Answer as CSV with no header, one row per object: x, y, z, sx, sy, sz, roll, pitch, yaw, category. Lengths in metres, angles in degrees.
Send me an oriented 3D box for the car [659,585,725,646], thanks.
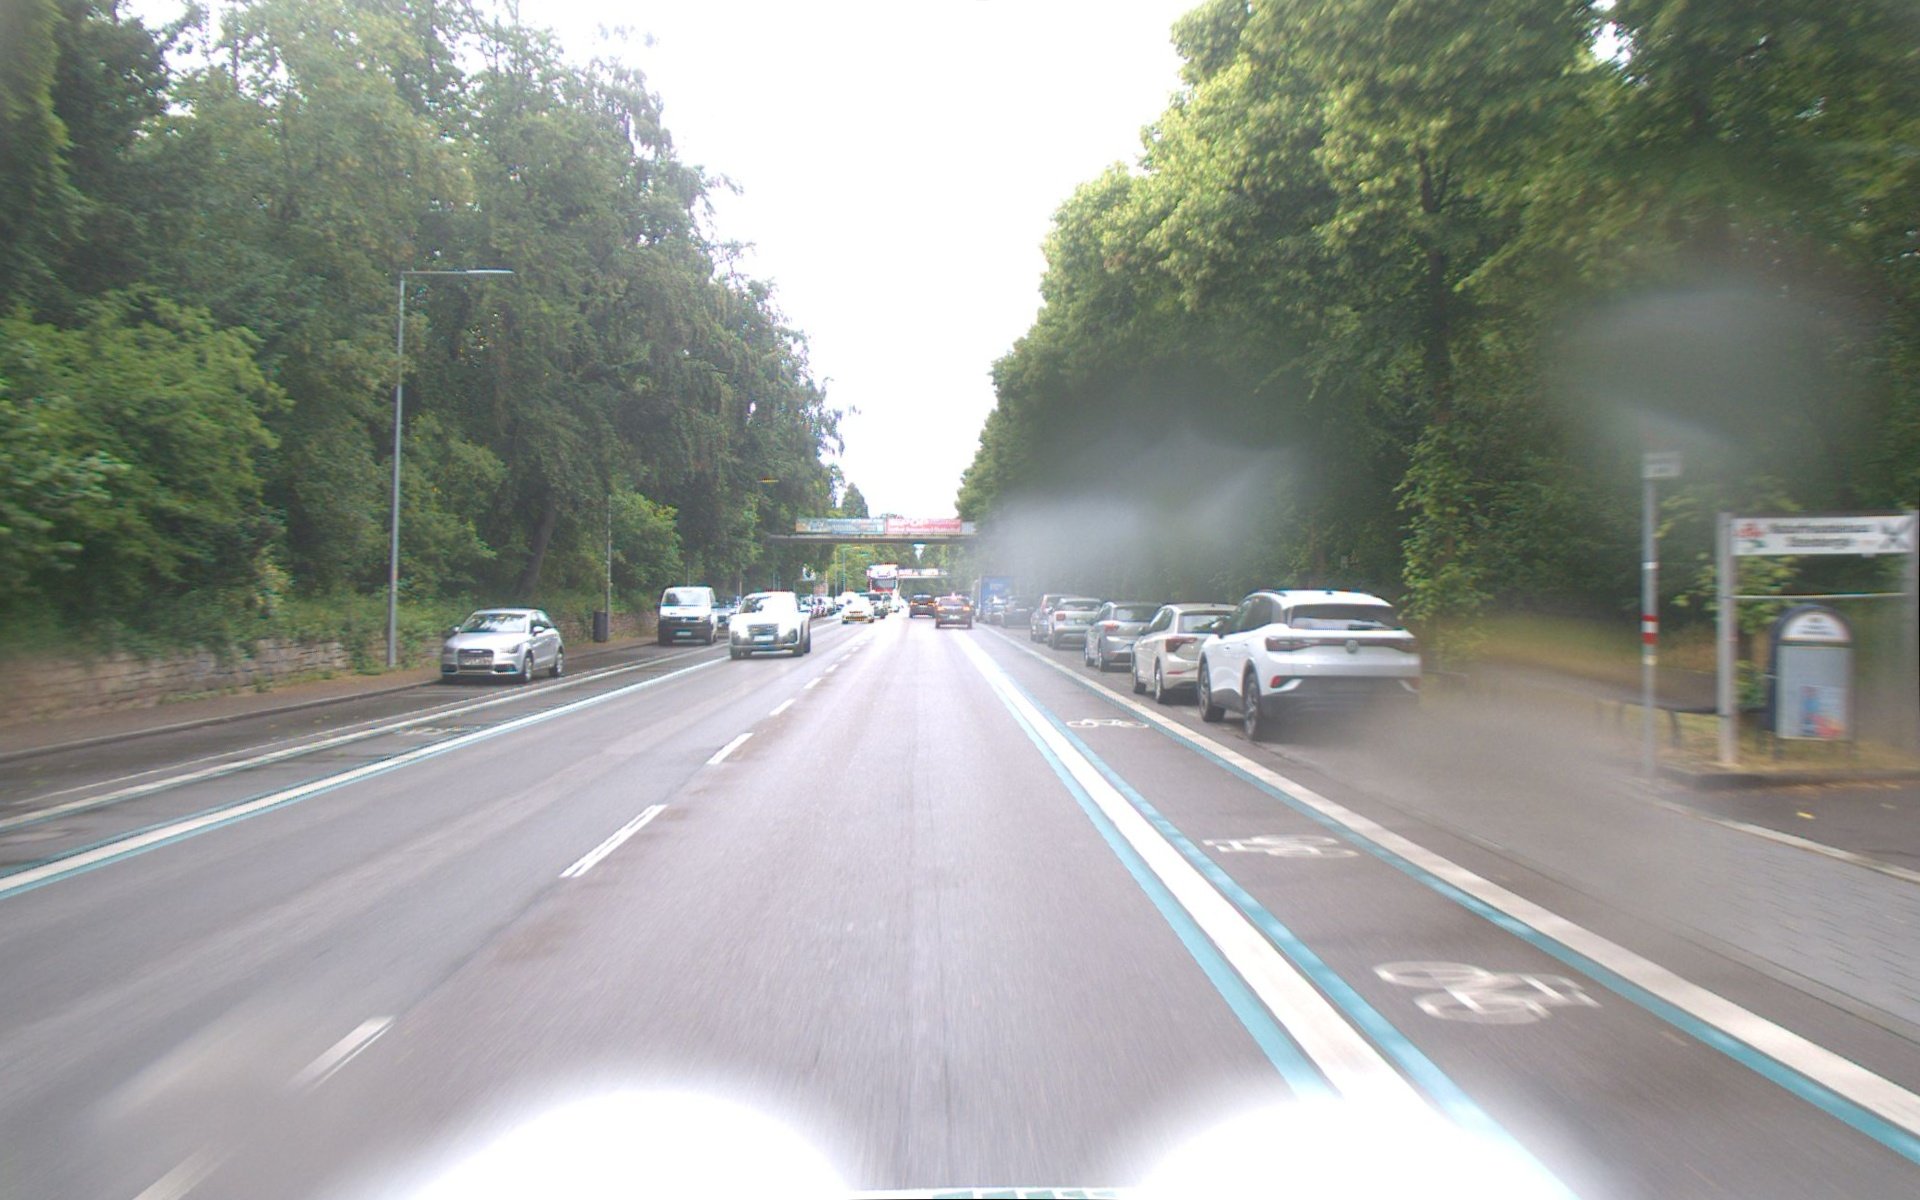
-9.368,0.505,58.129,1.935,2.040,5.012,0,0,-6,car

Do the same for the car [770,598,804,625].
-9.867,0.639,94.402,1.795,1.502,4.037,-1,1,-4,car

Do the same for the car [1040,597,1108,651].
3.380,0.682,49.733,1.663,1.540,4.468,1,0,-1,car

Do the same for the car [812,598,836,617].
-11.041,0.617,134.509,1.917,1.488,4.752,0,1,-4,car

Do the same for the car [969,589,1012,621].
1.600,0.242,87.719,1.862,1.574,4.752,1,0,-4,car

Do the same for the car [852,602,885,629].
-5.922,0.976,107.484,1.921,1.645,4.464,-1,0,-1,car

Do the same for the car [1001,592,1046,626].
2.990,0.406,78.609,1.789,1.529,4.569,0,0,-2,car

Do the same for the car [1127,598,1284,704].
3.712,0.735,25.619,1.664,1.479,3.944,1,0,-3,car

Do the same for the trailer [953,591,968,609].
0.027,-0.052,207.375,1.845,2.204,3.807,-1,0,-1,trailer

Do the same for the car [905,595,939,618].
-2.532,0.417,109.709,2.098,1.518,4.495,1,0,-3,car

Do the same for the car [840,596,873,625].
-5.748,0.586,92.168,1.740,1.491,4.061,-2,0,-2,car

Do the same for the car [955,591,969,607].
0.240,-0.118,224.198,1.850,2.164,4.044,-1,0,0,car

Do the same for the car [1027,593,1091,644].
3.285,0.599,55.628,1.718,1.625,4.738,1,0,-2,car

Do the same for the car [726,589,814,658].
-4.920,0.566,43.381,1.914,1.667,4.443,-1,1,-2,car

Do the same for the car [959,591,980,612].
0.951,0.157,164.042,1.887,2.057,4.662,1,0,-1,car

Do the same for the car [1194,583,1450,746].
4.081,0.663,19.443,1.953,1.691,4.561,0,0,-1,car

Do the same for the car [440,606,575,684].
-9.091,0.863,33.519,1.656,1.429,4.027,1,1,-1,car

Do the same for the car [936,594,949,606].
-2.405,0.018,224.792,1.696,1.611,4.035,-1,0,-2,car

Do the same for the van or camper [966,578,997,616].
1.594,-0.210,124.525,2.001,2.777,6.897,1,0,-2,van or camper

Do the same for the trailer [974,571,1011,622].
1.801,-0.183,93.535,1.913,2.807,4.006,0,0,-2,trailer

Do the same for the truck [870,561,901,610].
-6.607,-1.275,146.809,2.467,4.117,4.915,-2,0,-2,truck

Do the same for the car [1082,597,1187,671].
3.730,0.692,35.984,1.664,1.479,4.095,1,0,-3,car

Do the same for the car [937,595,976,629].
-0.184,0.556,77.472,1.781,1.534,4.138,1,0,0,car

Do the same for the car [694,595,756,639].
-9.509,0.657,67.266,1.970,1.633,4.777,-1,1,-2,car

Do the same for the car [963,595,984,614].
1.172,0.365,145.711,1.720,1.617,4.497,1,0,-1,car
